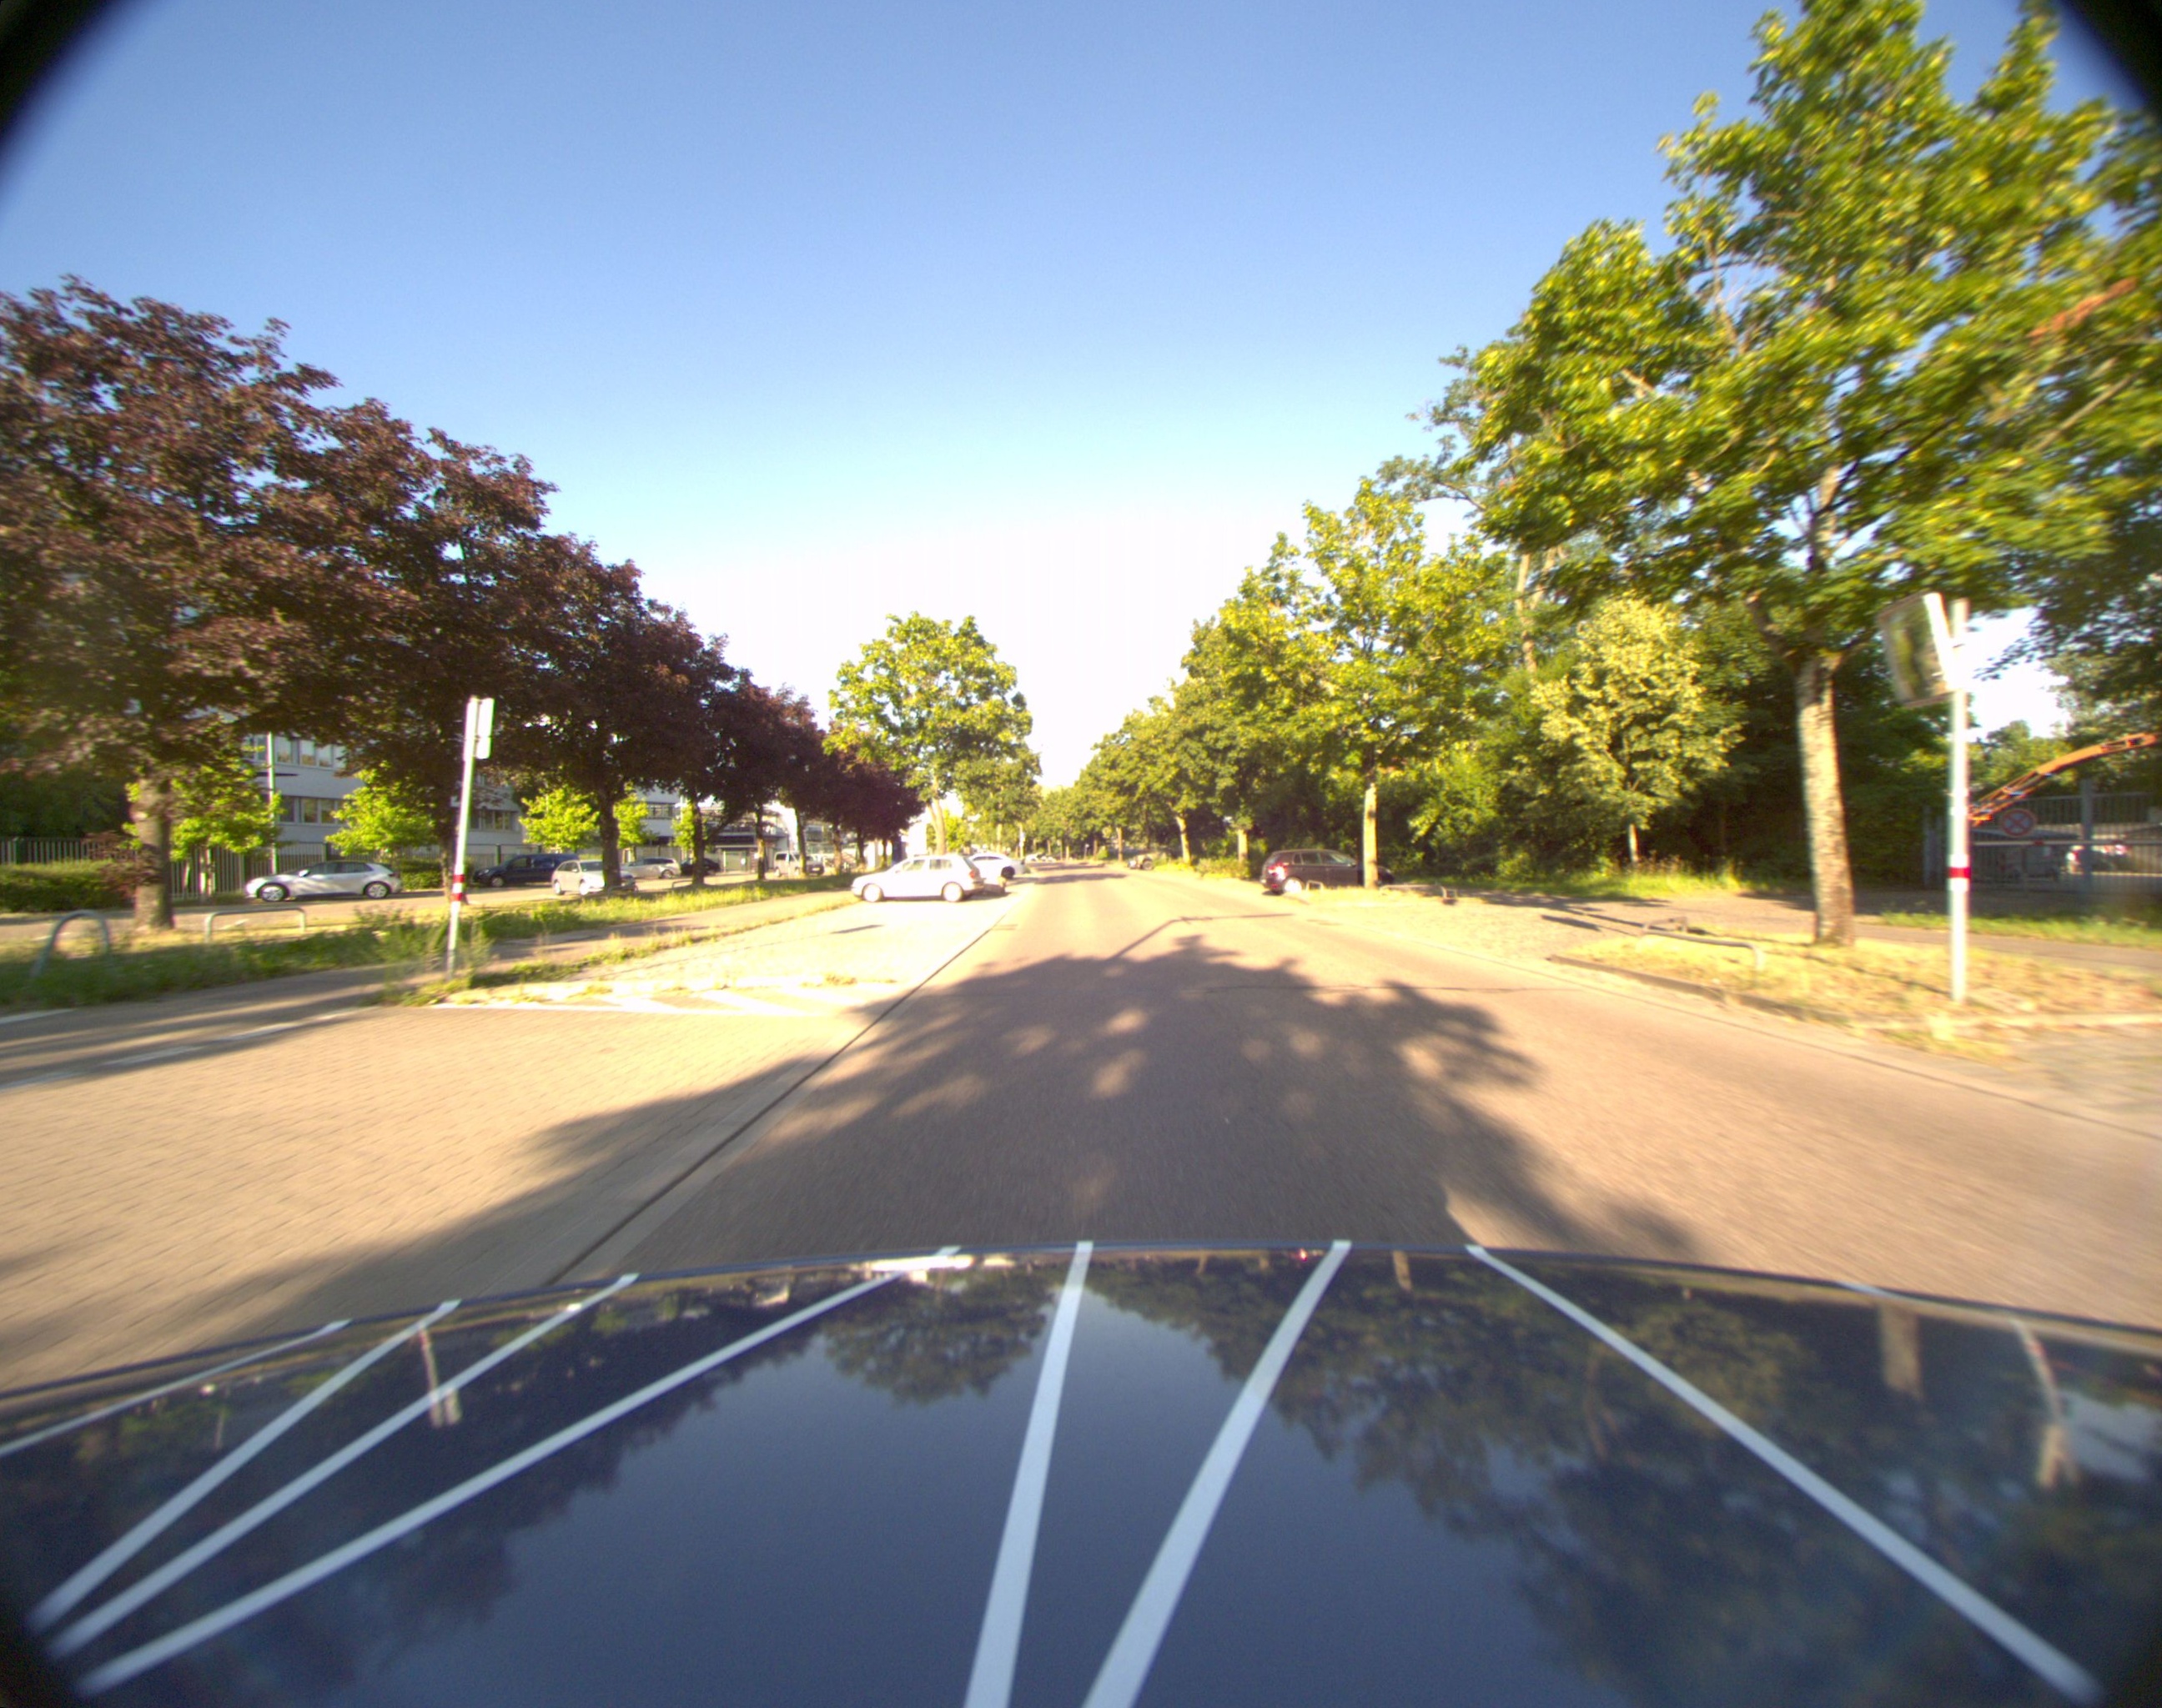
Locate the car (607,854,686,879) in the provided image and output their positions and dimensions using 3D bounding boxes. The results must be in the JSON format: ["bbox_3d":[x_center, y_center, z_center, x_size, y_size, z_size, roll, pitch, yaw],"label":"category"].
[{"bbox_3d":[-29.106,0.817,50.926,4.321,1.520,1.802,-1,1,-39],"label":"car"}]

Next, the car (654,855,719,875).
[{"bbox_3d":[-29.735,0.798,57.295,4.008,1.346,1.802,-1,1,-43],"label":"car"}]

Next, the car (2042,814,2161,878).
[{"bbox_3d":[30.234,-0.226,21.136,1.913,1.718,3.999,-1,0,-3],"label":"car"}]

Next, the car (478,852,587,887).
[{"bbox_3d":[-29.232,0.784,40.608,4.505,1.739,1.762,-1,0,-44],"label":"car"}]

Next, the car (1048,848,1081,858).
[{"bbox_3d":[-2.707,-0.126,125.834,5.053,1.454,1.997,-3,1,-13],"label":"car"}]

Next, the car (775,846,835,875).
[{"bbox_3d":[-19.352,0.452,53.160,4.940,1.922,2.004,-2,0,45],"label":"car"}]

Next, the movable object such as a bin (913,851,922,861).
[{"bbox_3d":[-23.241,0.309,107.903,0.846,1.408,1.039,-2,0,19],"label":"movable object such as a bin"}]

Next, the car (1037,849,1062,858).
[{"bbox_3d":[-5.921,-0.051,143.151,4.496,1.522,1.997,-3,1,-13],"label":"car"}]

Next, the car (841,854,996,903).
[{"bbox_3d":[-5.107,0.754,24.233,4.366,1.470,2.001,0,1,8],"label":"car"}]

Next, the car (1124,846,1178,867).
[{"bbox_3d":[5.988,0.225,65.295,4.224,1.521,1.704,-4,1,-6],"label":"car"}]

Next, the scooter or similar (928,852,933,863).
[{"bbox_3d":[-18.330,0.407,92.597,0.521,1.264,1.199,-1,1,-8],"label":"scooter or similar"}]

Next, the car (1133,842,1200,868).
[{"bbox_3d":[6.857,0.055,61.460,5.020,2.008,2.173,-1,1,-6],"label":"car"}]

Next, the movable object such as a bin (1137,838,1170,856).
[{"bbox_3d":[11.358,-1.061,119.281,4.790,2.649,2.169,0,1,41],"label":"movable object such as a bin"}]

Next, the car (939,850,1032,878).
[{"bbox_3d":[-5.502,0.561,44.322,5.190,1.565,2.157,-1,1,-5],"label":"car"}]

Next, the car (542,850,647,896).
[{"bbox_3d":[-19.954,0.789,31.105,4.941,1.564,2.004,-5,-2,38],"label":"car"}]

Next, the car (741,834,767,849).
[{"bbox_3d":[-49.494,-1.919,115.047,1.999,2.089,4.201,-3,0,-1],"label":"car"}]

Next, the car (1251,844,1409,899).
[{"bbox_3d":[7.912,0.541,24.456,4.370,1.470,1.999,-3,1,-2],"label":"car"}]

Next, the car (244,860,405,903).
[{"bbox_3d":[-29.212,1.010,29.575,4.312,1.518,1.762,-1,0,-41],"label":"car"}]
